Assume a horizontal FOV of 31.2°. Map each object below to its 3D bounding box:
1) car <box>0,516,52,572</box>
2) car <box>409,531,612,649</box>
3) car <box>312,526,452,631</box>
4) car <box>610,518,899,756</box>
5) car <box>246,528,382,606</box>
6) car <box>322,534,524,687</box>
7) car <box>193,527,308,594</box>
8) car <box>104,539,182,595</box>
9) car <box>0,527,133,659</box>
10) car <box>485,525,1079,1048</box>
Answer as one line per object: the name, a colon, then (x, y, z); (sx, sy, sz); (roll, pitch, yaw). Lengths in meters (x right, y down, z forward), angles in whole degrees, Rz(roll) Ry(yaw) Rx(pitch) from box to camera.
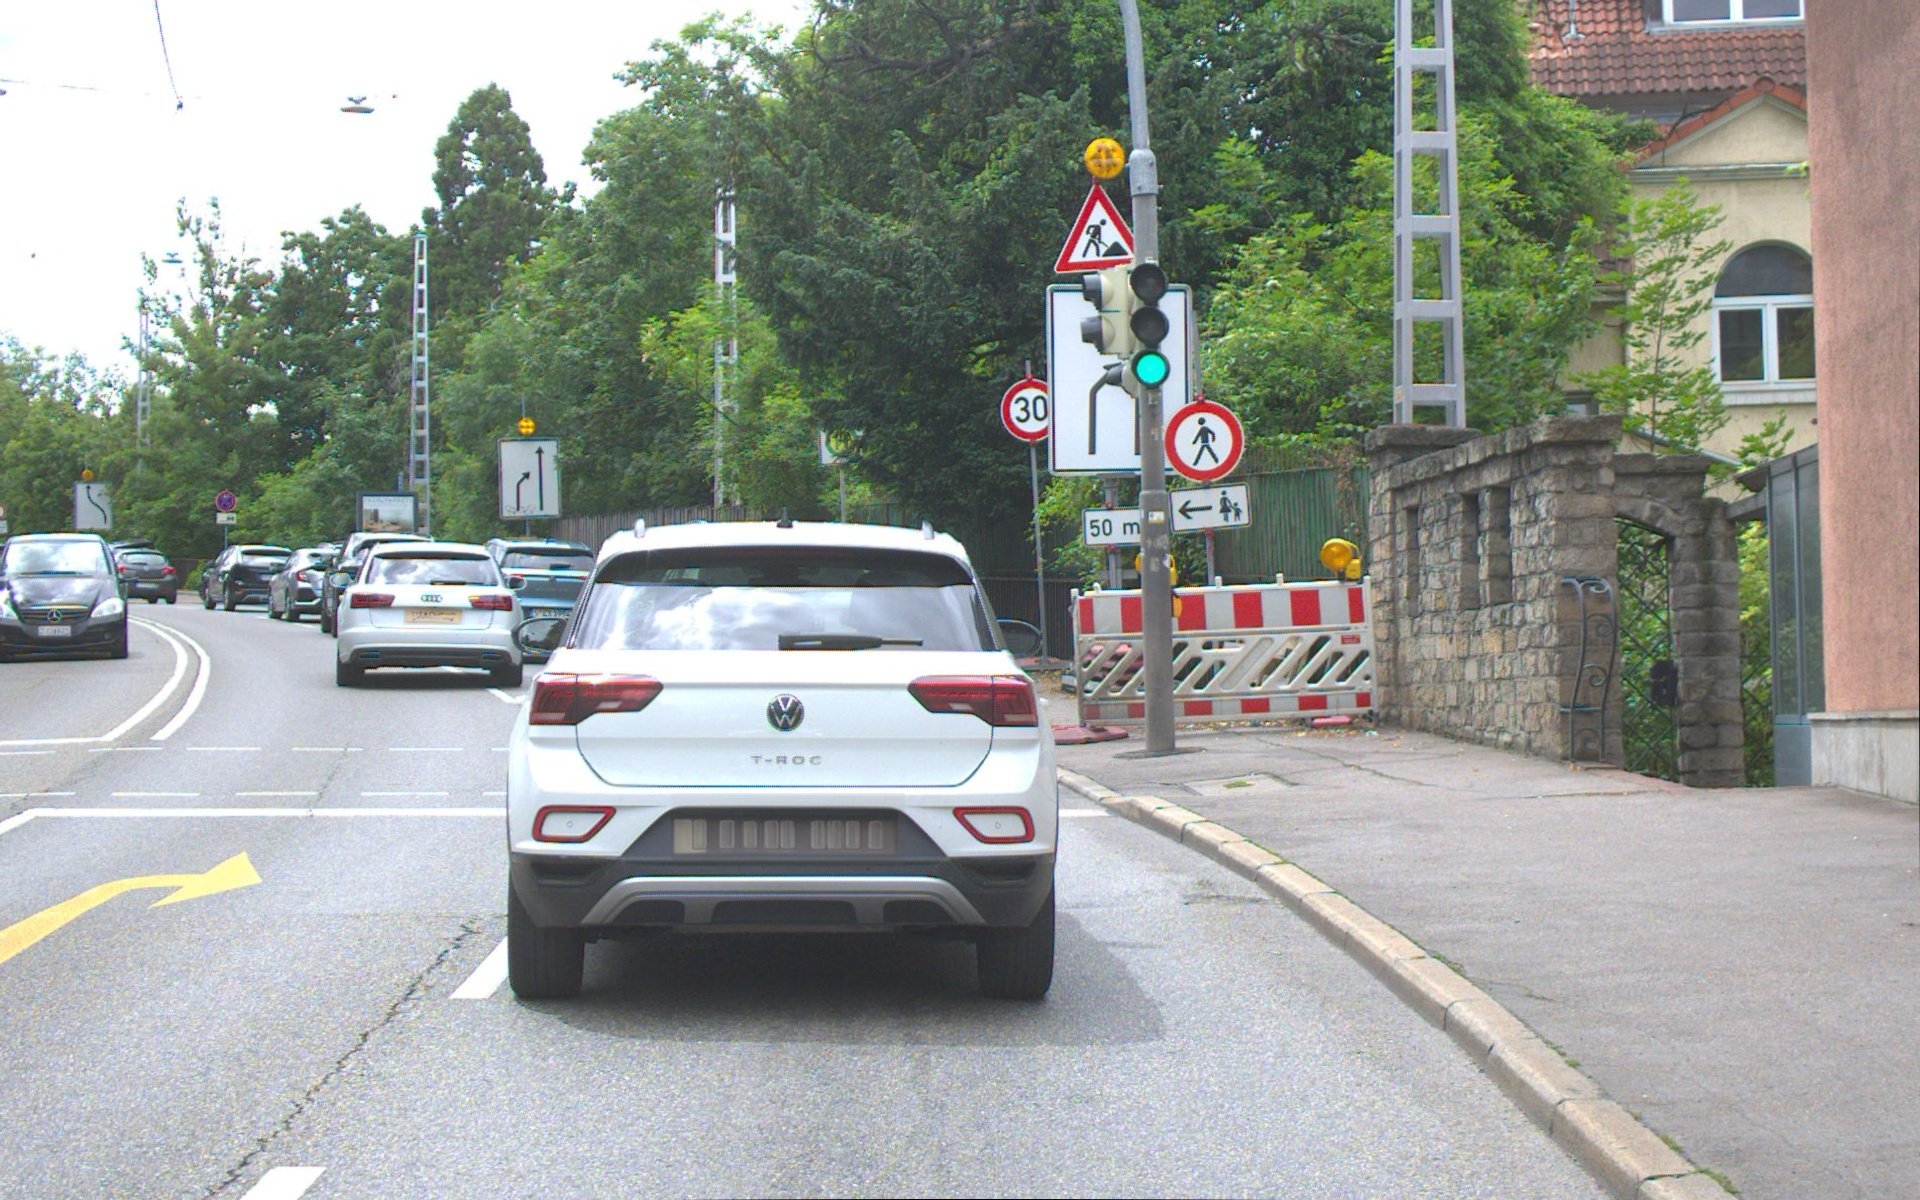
car: (-30.190, -1.788, 108.159); (1.841, 1.693, 4.000); (-1, 2, -36)
car: (-5.805, -0.141, 44.014); (1.993, 1.409, 4.152); (-1, 1, -15)
car: (-9.287, -0.373, 54.979); (1.993, 1.551, 4.152); (1, 2, -12)
car: (-1.598, 0.228, 25.492); (1.757, 1.604, 3.796); (1, 1, -9)
car: (-12.467, -0.636, 66.204); (1.993, 1.445, 4.152); (0, 1, -19)
car: (-5.567, 0.074, 35.321); (1.757, 1.466, 3.797); (1, 1, -13)
car: (-15.878, -0.876, 76.763); (1.993, 1.445, 4.152); (0, 1, -19)
car: (-21.692, -0.892, 91.218); (1.780, 1.449, 4.001); (0, 1, -16)
car: (-11.534, -0.118, 43.875); (1.754, 1.561, 3.680); (-2, 2, -12)
car: (-0.669, 0.543, 12.256); (1.757, 1.550, 3.796); (1, 1, -4)
